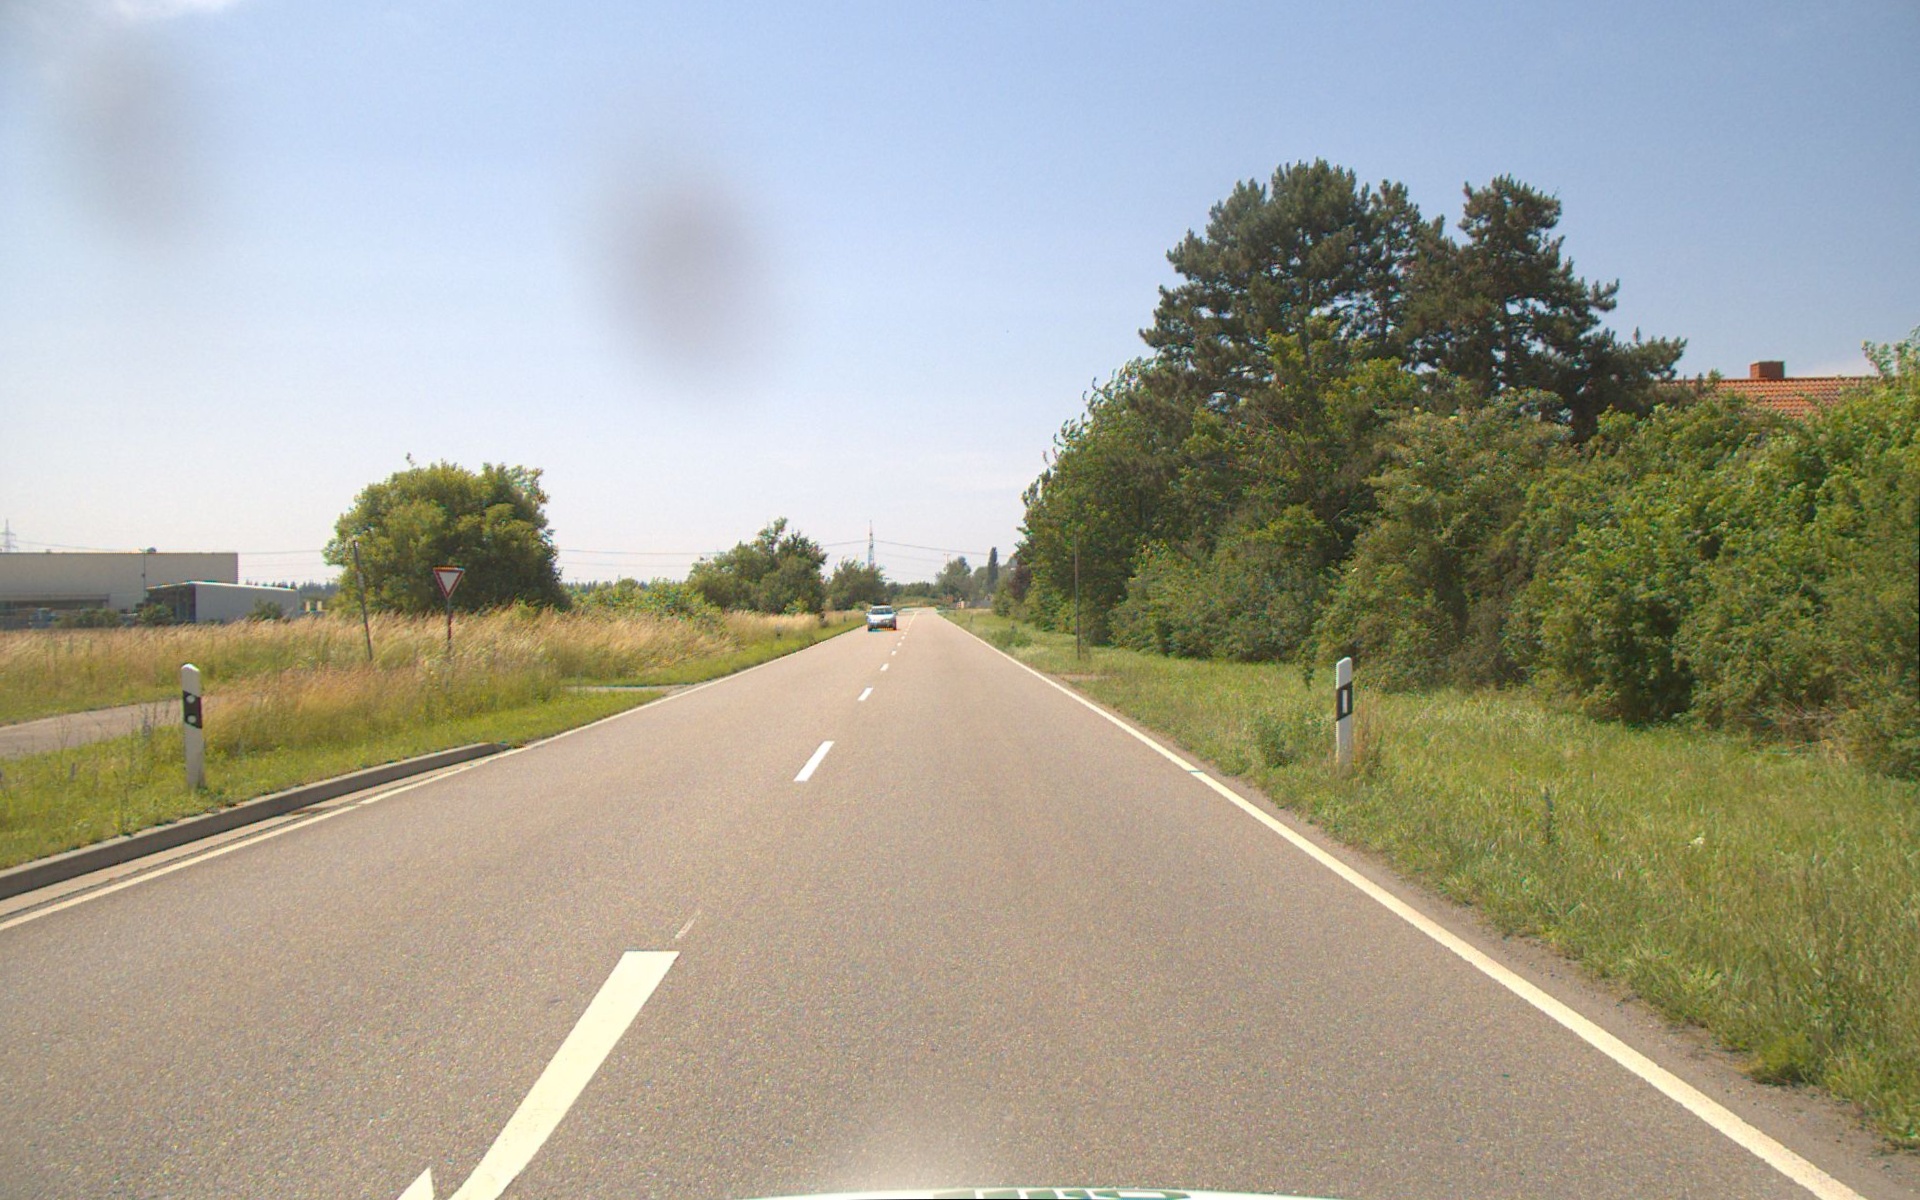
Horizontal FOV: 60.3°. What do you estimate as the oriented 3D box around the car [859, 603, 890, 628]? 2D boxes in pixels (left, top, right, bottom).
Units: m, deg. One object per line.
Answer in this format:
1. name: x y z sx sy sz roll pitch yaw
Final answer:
1. car: -5.151 0.923 100.313 1.644 1.446 4.421 -3 0 -1
